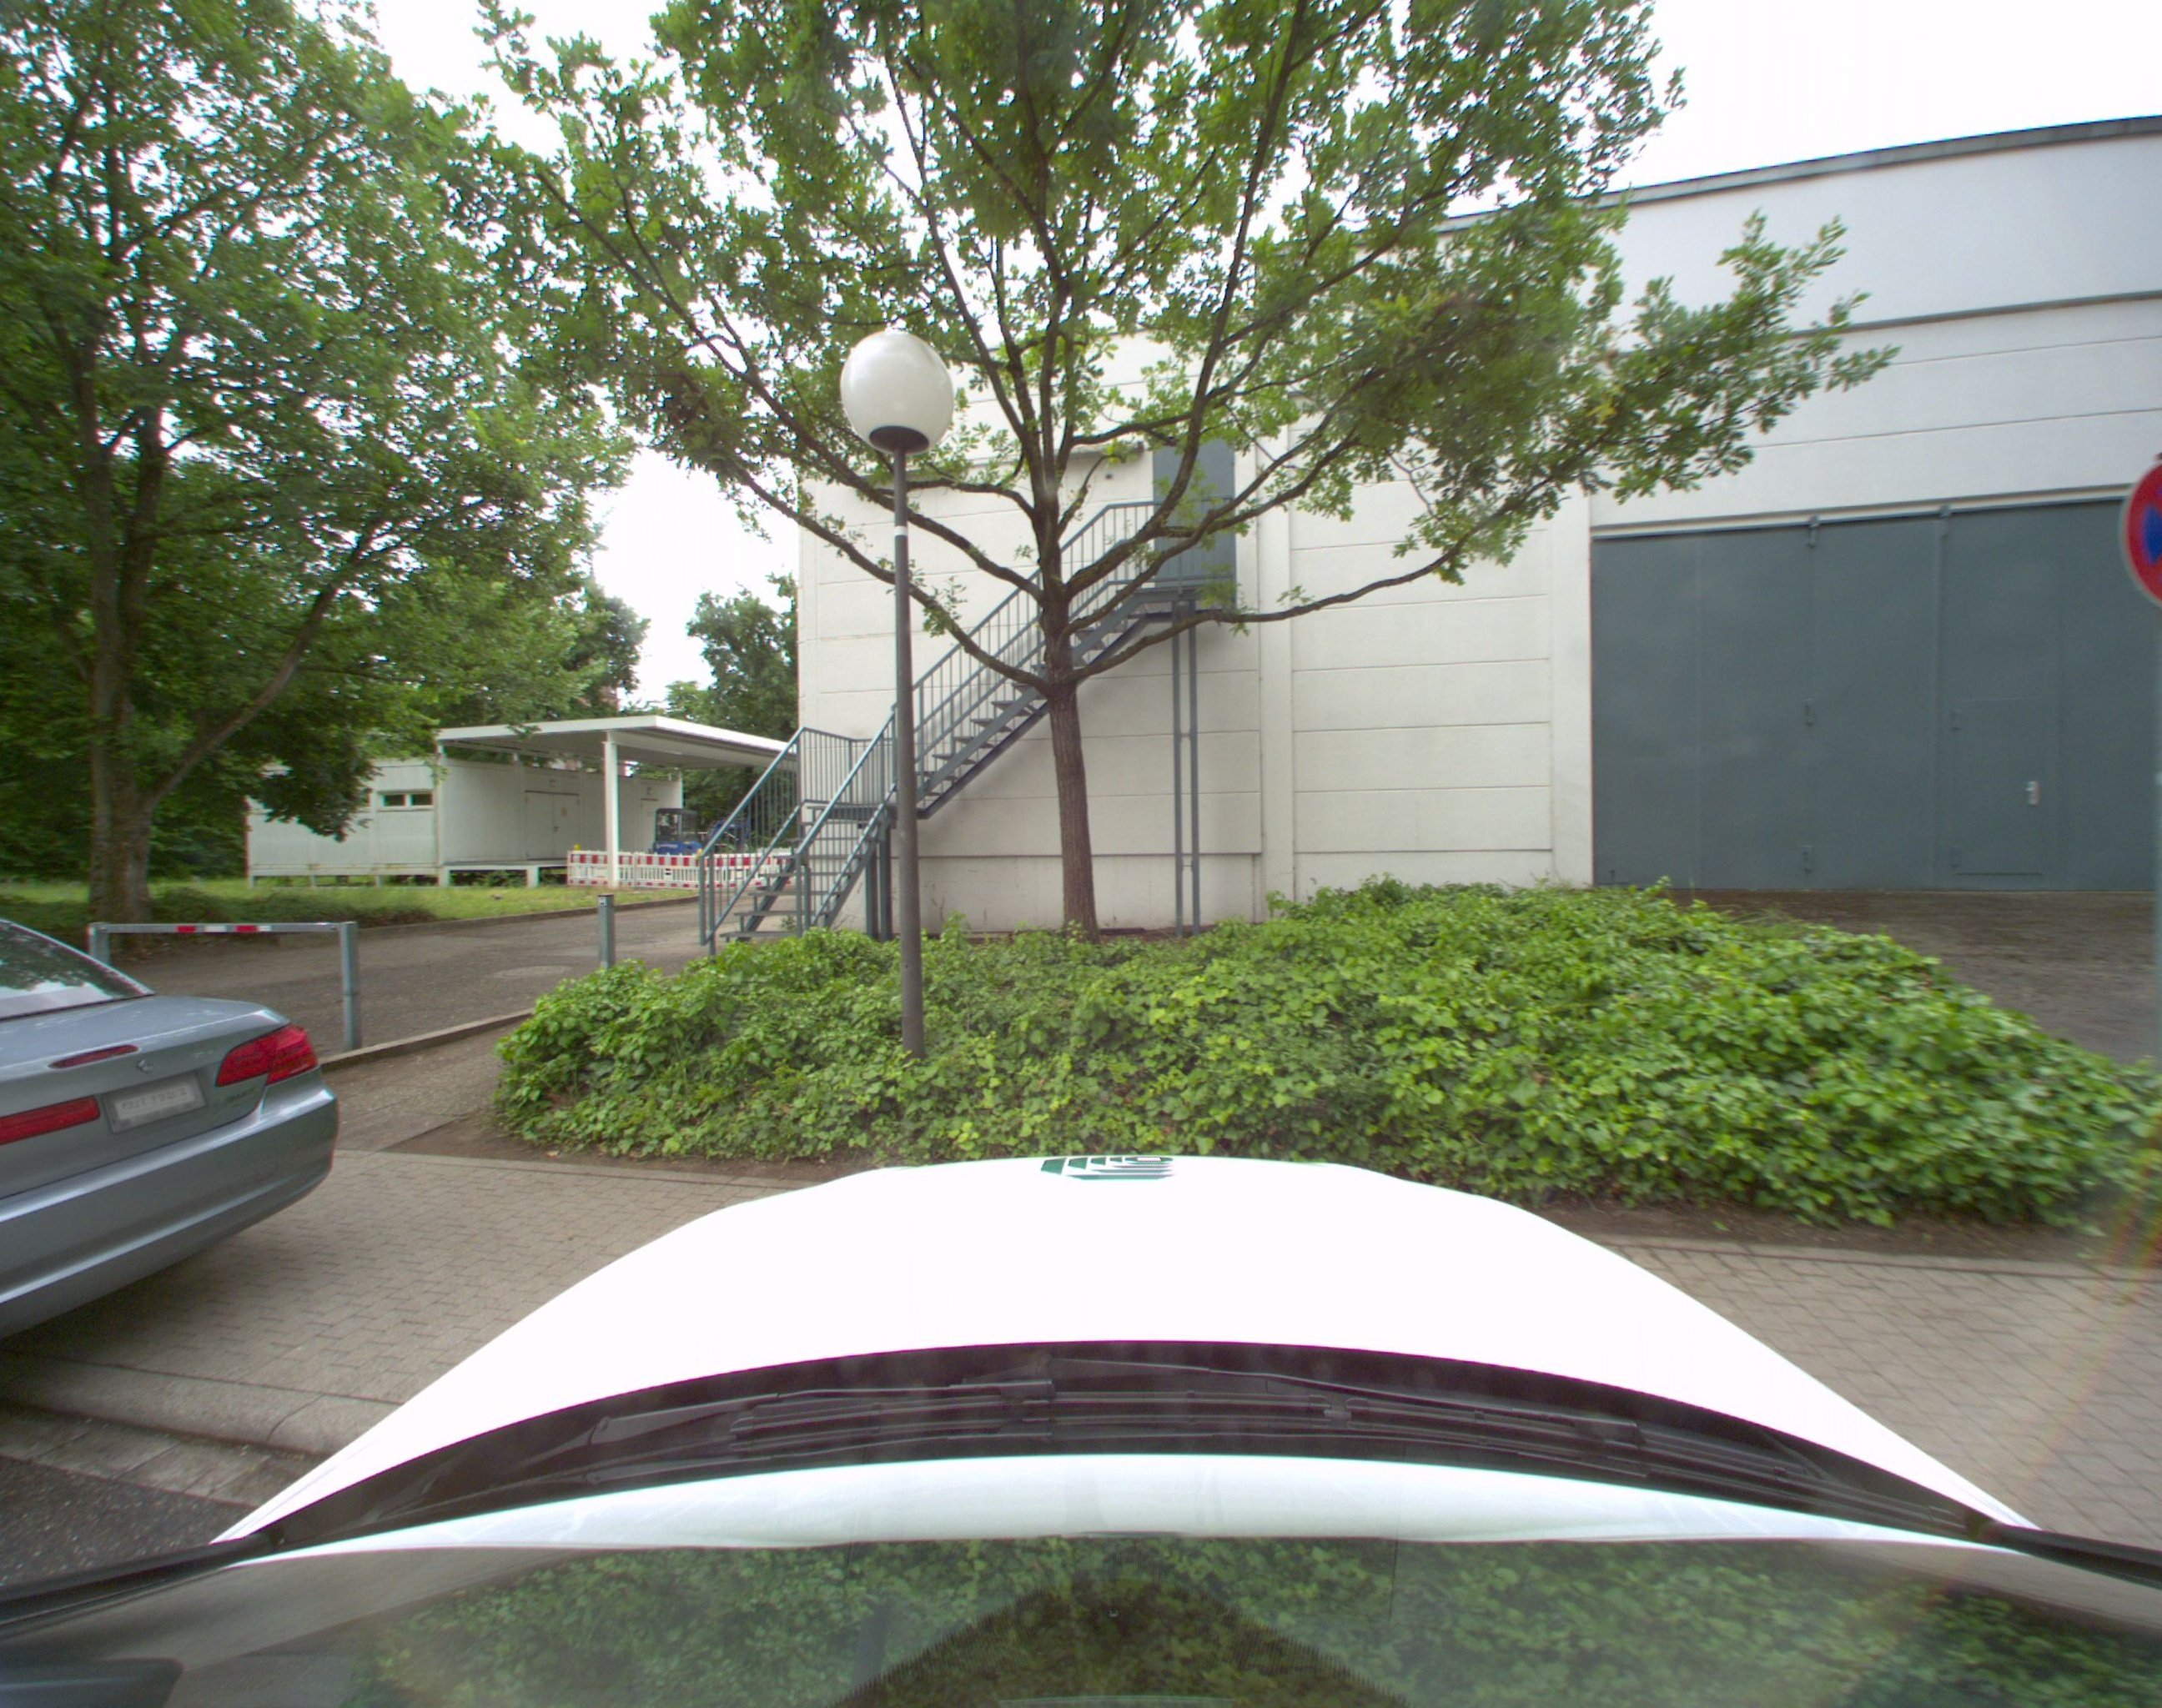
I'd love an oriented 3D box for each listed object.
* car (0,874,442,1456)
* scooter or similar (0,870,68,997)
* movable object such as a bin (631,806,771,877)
[{"bbox_3d":[-4.704,0.824,2.579,4.155,1.388,1.829,-1,1,9],"label":"car"},{"bbox_3d":[-10.854,0.786,7.817,1.312,1.210,0.446,-2,1,-37],"label":"scooter or similar"},{"bbox_3d":[-12.646,-0.358,27.496,1.982,2.171,4.682,-1,0,9],"label":"movable object such as a bin"}]
